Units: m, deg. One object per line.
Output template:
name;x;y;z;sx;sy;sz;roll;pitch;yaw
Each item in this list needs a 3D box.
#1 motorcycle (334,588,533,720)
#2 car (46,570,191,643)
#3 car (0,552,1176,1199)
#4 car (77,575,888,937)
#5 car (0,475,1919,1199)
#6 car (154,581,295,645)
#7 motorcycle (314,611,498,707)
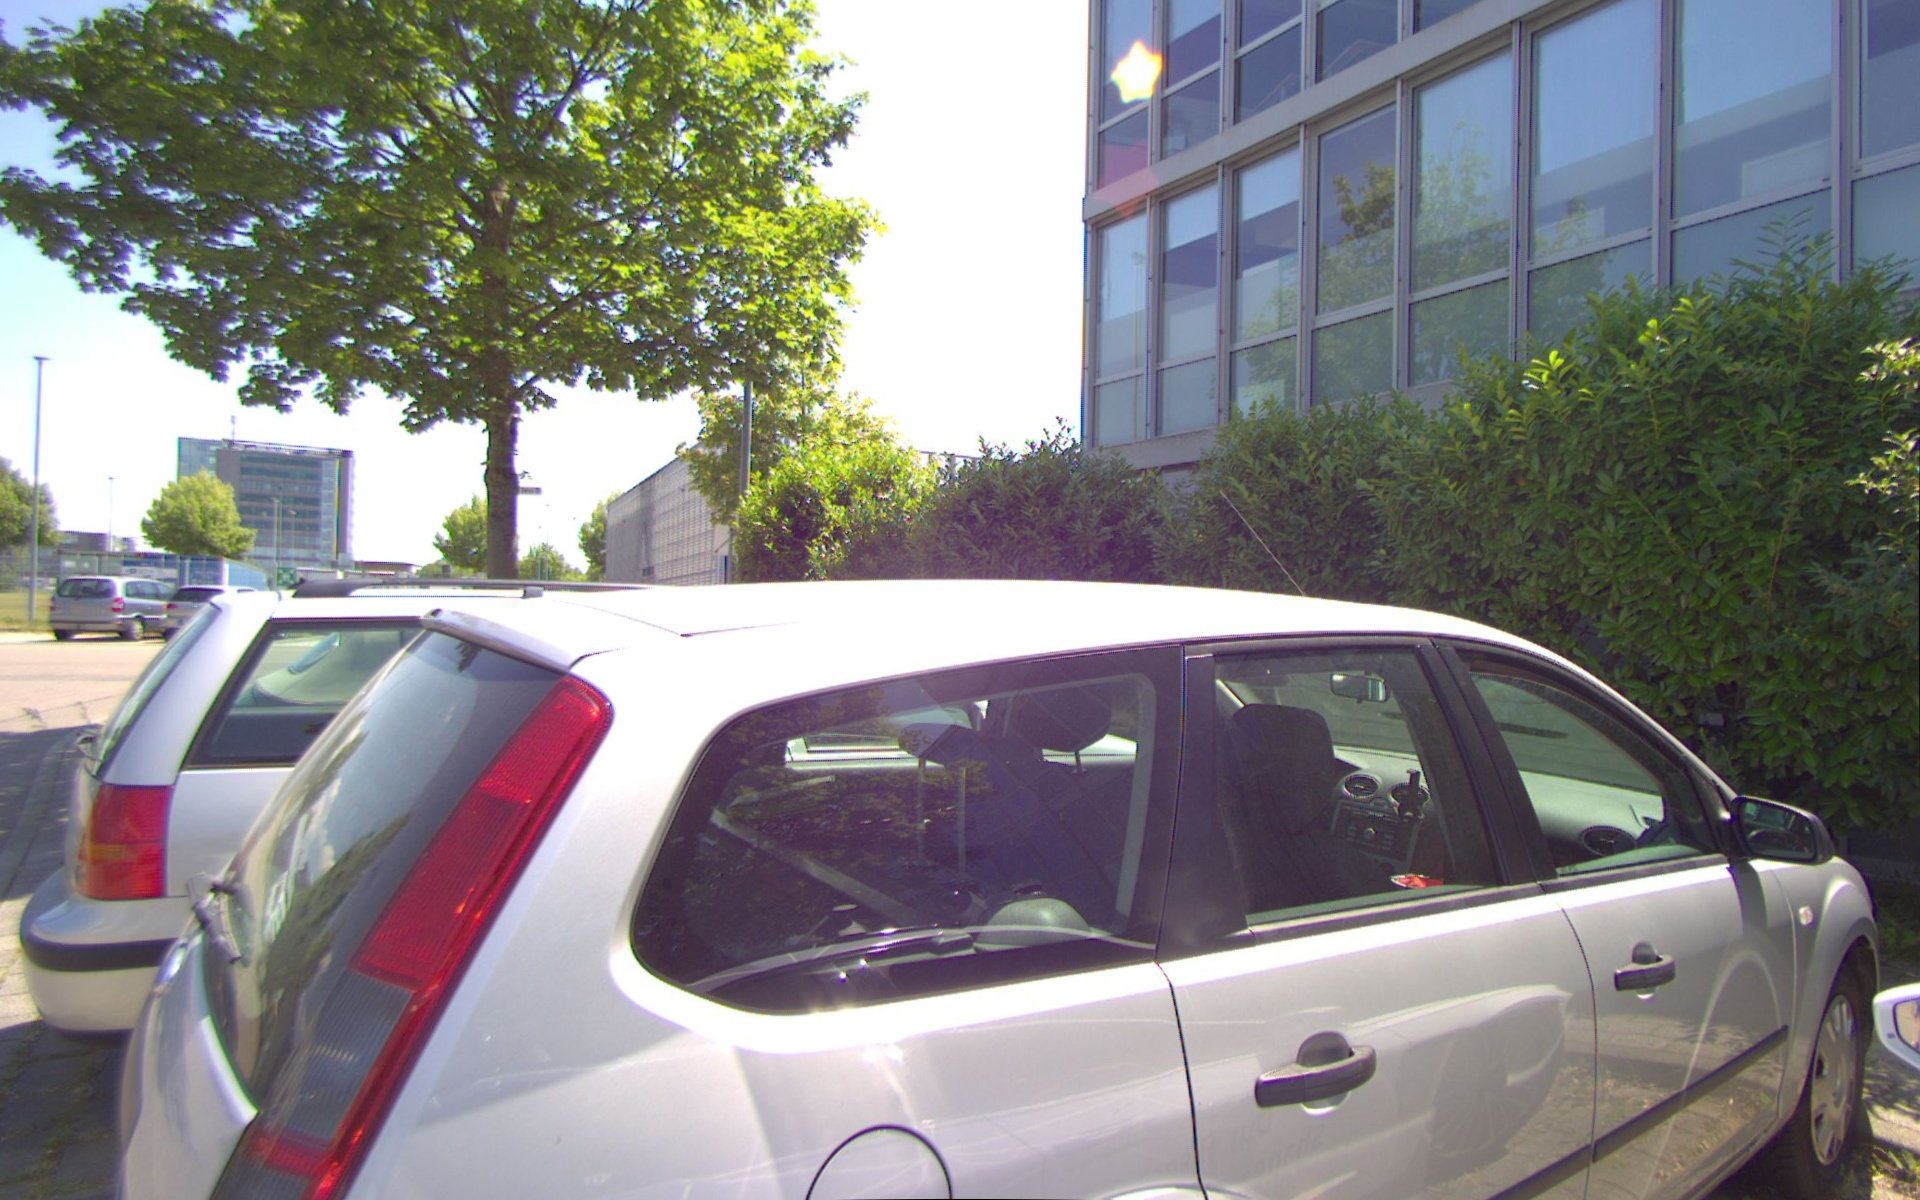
motorcycle;-6.005;0.585;11.528;1.971;1.408;0.479;1;0;-37
car;-21.969;0.156;26.406;1.747;1.761;3.978;1;0;-22
car;-1.096;0.677;3.891;3.855;1.499;1.636;1;0;-36
car;-2.492;0.663;5.885;3.855;1.468;1.636;1;0;-36
car;0.624;0.716;2.351;4.303;1.499;1.709;1;0;-34
car;-19.568;0.328;26.932;1.625;1.542;3.989;1;0;-14
motorcycle;-6.917;0.708;12.605;1.971;1.123;0.479;1;0;-37
